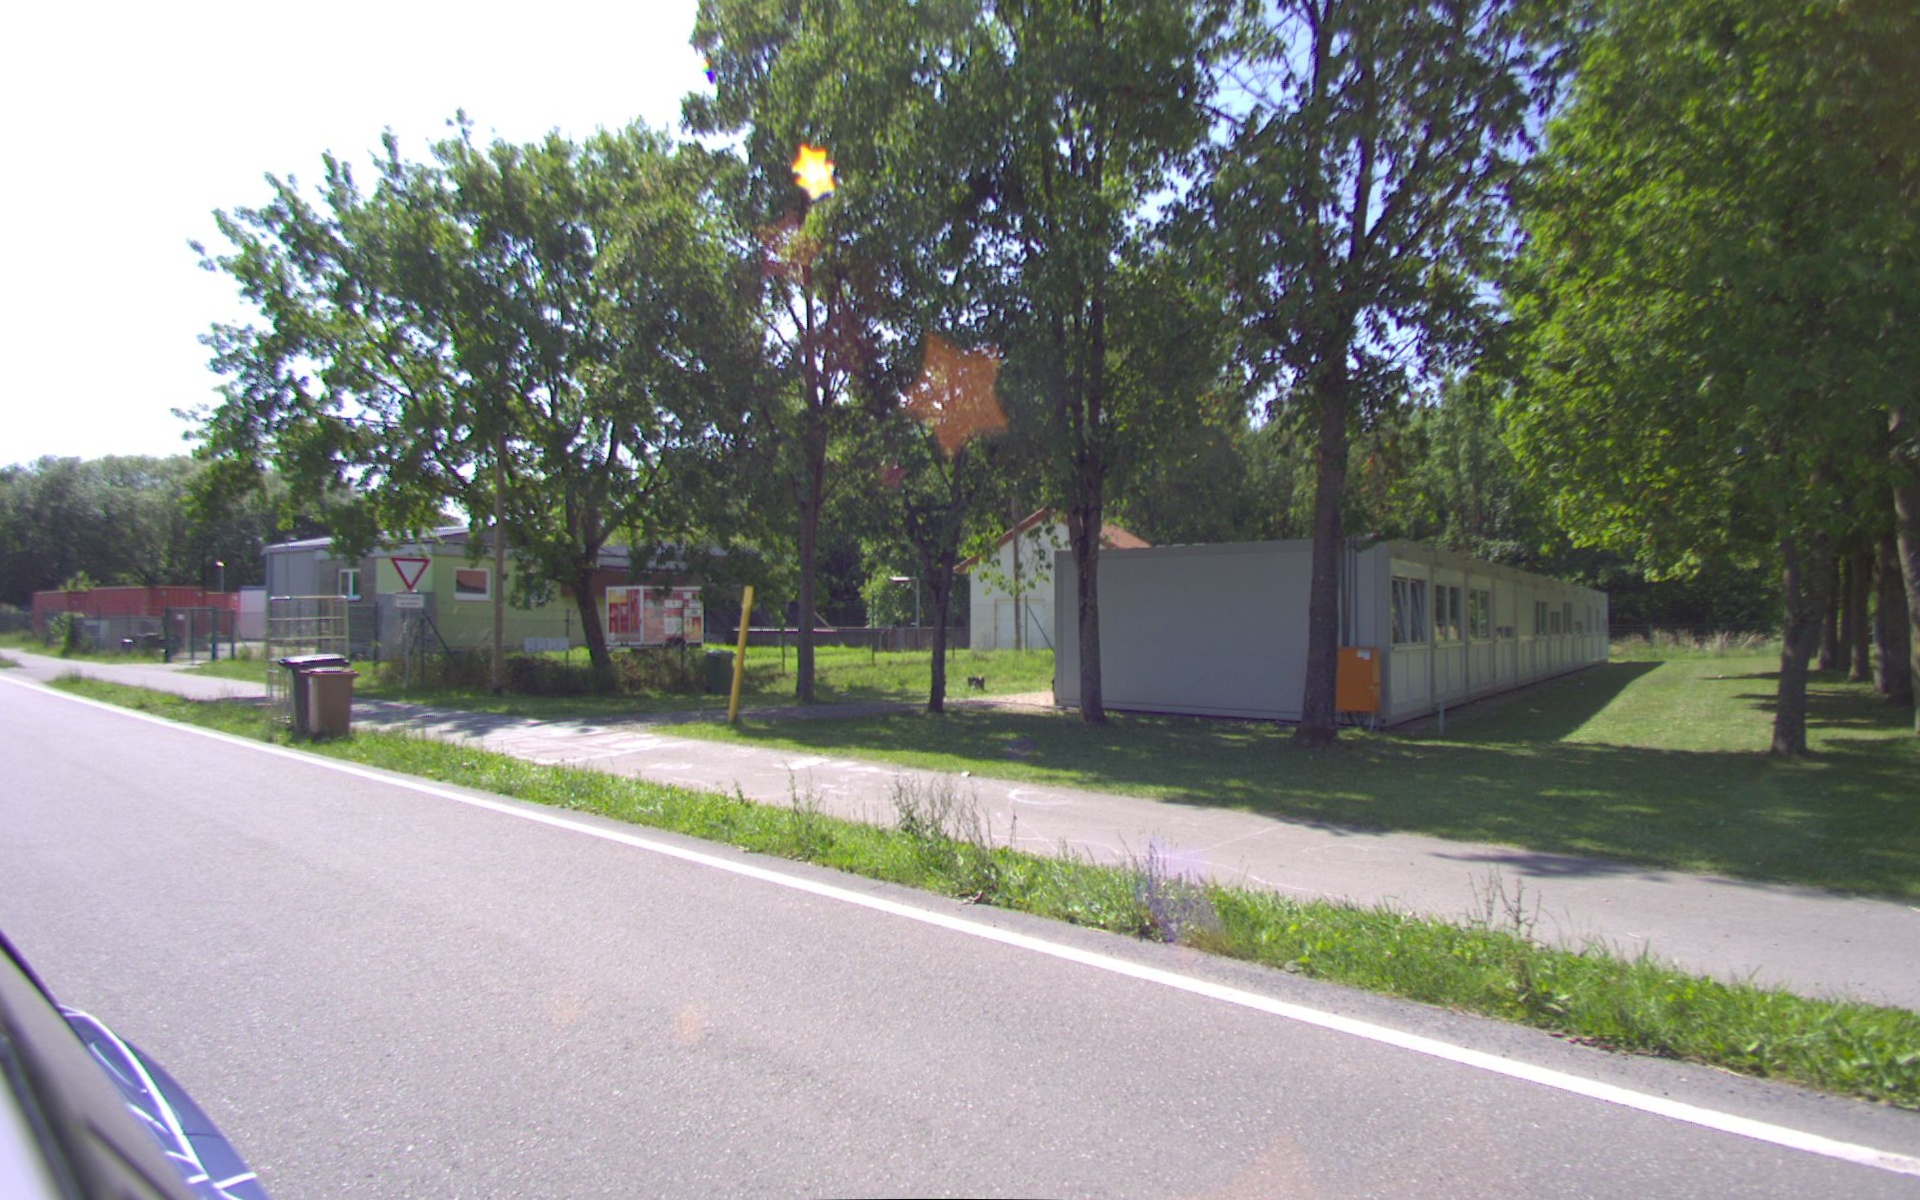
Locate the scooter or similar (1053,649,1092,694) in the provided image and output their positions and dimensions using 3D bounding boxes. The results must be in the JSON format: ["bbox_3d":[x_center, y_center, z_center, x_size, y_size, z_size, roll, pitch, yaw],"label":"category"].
[{"bbox_3d":[2.613,1.651,23.504,0.533,1.005,0.886,-1,-2,35],"label":"scooter or similar"}]

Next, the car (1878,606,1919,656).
[{"bbox_3d":[34.896,1.104,36.249,1.654,1.763,3.723,-1,-2,21],"label":"car"}]

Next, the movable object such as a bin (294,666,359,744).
[{"bbox_3d":[-7.640,1.246,12.205,0.555,0.883,0.614,2,-3,-42],"label":"movable object such as a bin"}]

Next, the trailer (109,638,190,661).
[{"bbox_3d":[-32.056,1.935,40.024,3.349,0.873,1.617,-1,-2,35],"label":"trailer"}]

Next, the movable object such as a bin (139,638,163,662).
[{"bbox_3d":[-29.799,1.843,37.268,0.631,0.861,0.654,2,-3,-44],"label":"movable object such as a bin"}]

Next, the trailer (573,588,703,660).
[{"bbox_3d":[-10.842,0.836,34.357,1.819,2.295,4.200,-1,-2,26],"label":"trailer"}]

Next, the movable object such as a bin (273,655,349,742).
[{"bbox_3d":[-8.230,1.222,12.835,0.690,1.032,0.749,2,-3,-42],"label":"movable object such as a bin"}]
